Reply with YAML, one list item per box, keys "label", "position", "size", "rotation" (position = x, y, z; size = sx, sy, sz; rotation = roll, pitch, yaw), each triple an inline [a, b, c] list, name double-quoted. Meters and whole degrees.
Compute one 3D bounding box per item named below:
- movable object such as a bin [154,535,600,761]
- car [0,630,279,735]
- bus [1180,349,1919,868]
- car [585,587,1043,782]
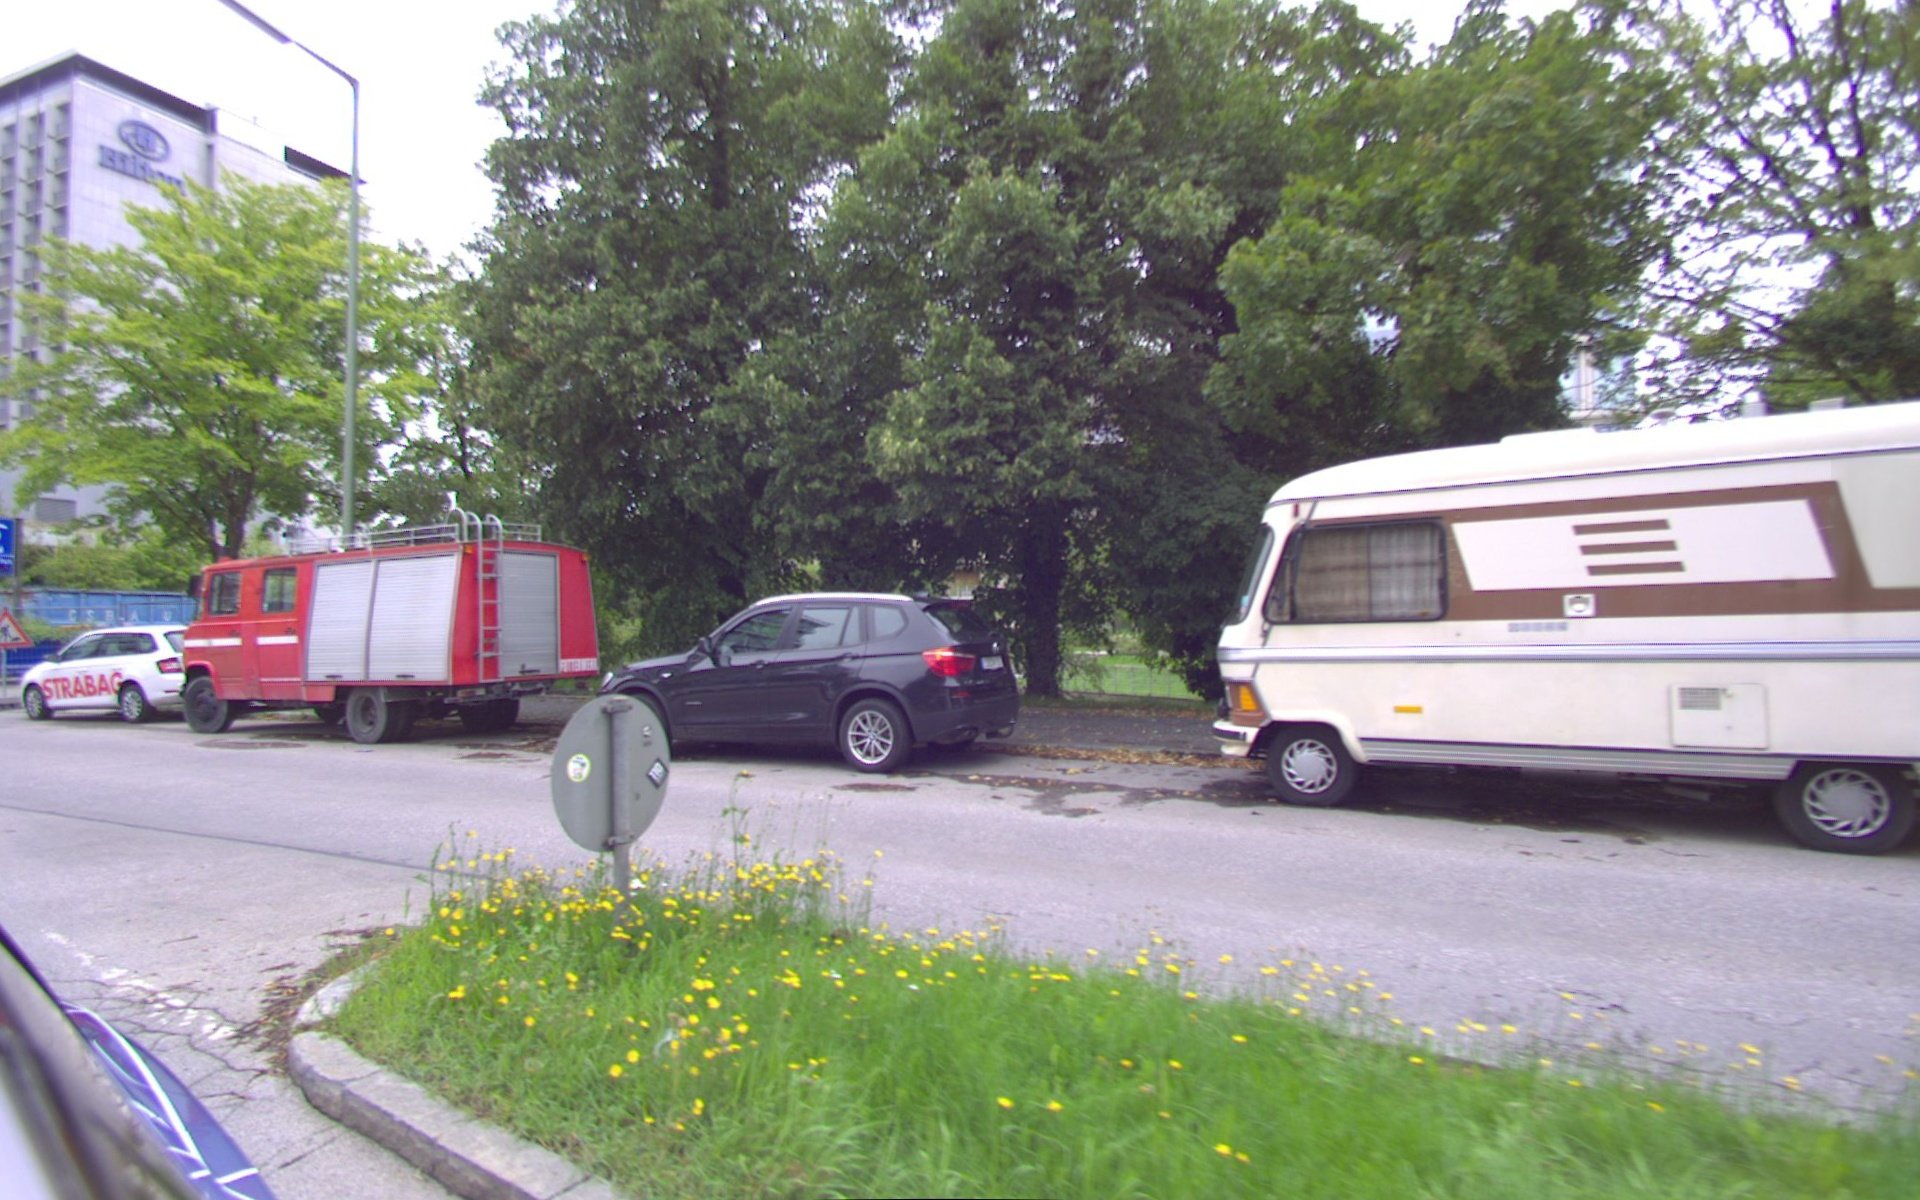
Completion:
- label: "movable object such as a bin"
  position: [-7.819, 0.624, 13.420]
  size: [6.155, 2.477, 2.092]
  rotation: [-1, -3, 27]
- label: "car"
  position: [-13.510, 1.293, 16.589]
  size: [4.225, 1.561, 1.770]
  rotation: [-1, -2, 21]
- label: "bus"
  position: [4.654, 0.101, 6.923]
  size: [5.716, 2.720, 2.297]
  rotation: [-2, -3, 33]
- label: "car"
  position: [-1.531, 0.797, 10.399]
  size: [4.434, 1.662, 1.767]
  rotation: [-1, -3, 25]
